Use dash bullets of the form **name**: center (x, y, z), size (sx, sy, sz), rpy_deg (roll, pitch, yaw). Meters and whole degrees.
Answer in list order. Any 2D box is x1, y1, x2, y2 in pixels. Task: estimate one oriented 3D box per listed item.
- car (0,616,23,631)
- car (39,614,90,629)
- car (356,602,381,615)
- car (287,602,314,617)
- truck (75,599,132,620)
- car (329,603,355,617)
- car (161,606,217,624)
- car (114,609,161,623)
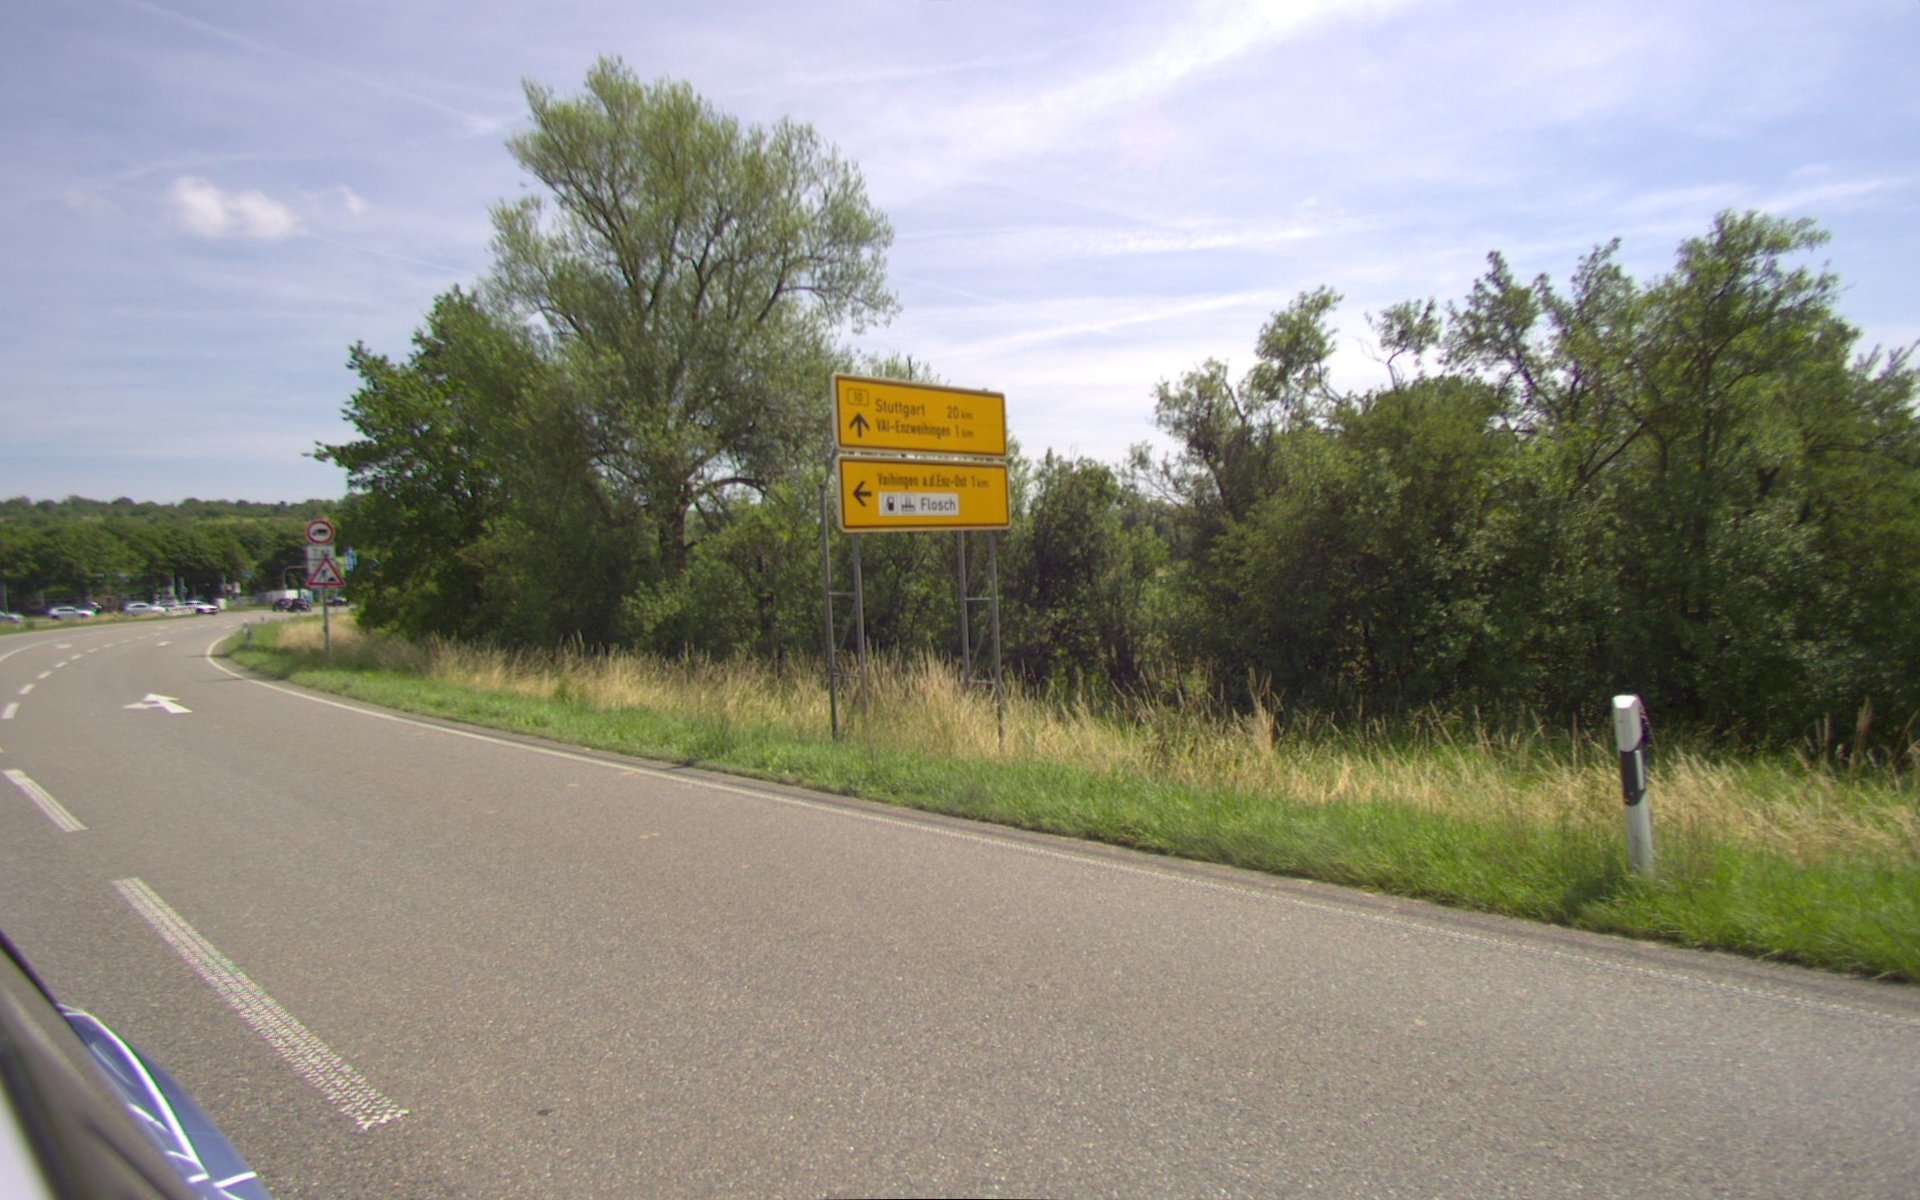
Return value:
- **car**: center (-107.618, 2.642, 112.688), size (4.484, 1.521, 1.807), rpy_deg (-3, 3, -30)
- **car**: center (-102.342, 2.442, 115.715), size (4.036, 1.429, 1.806), rpy_deg (-2, 3, -32)
- **car**: center (-89.891, 1.228, 153.812), size (1.782, 1.745, 4.008), rpy_deg (-2, 3, -8)
- **car**: center (-77.959, 1.122, 119.645), size (1.746, 1.671, 4.013), rpy_deg (-1, 1, -19)
- **truck**: center (-124.080, 1.365, 146.755), size (2.240, 2.637, 6.124), rpy_deg (-2, 2, 13)
- **car**: center (-88.608, 1.450, 145.172), size (1.782, 1.745, 4.008), rpy_deg (-2, 3, -8)
- **car**: center (-86.558, 1.710, 113.657), size (4.564, 1.619, 2.004), rpy_deg (-3, 4, -12)
- **car**: center (-96.221, 1.881, 118.500), size (3.904, 1.429, 1.834), rpy_deg (-4, 2, -26)
